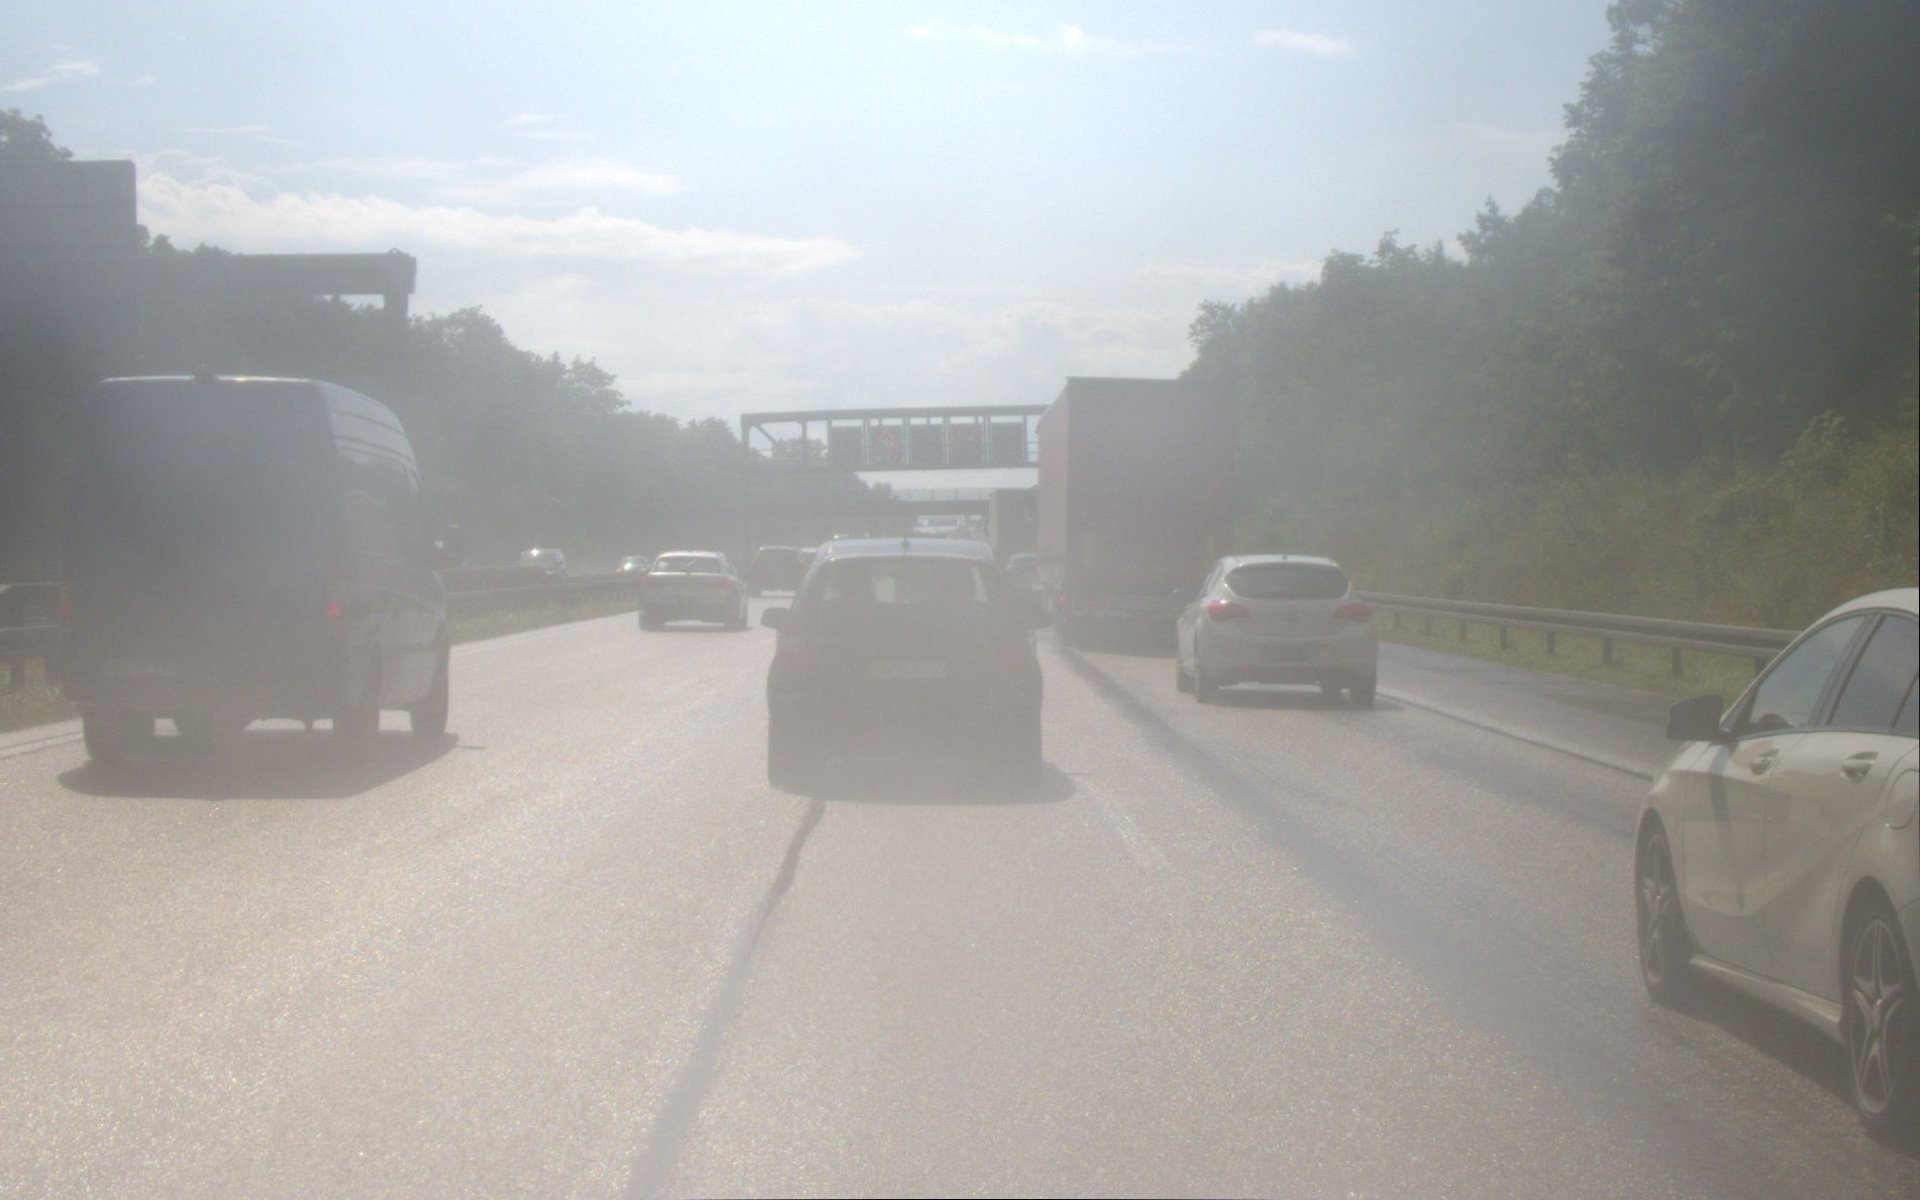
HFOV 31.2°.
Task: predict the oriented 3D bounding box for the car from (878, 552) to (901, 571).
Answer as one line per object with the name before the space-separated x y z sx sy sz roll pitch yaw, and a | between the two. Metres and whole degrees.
car | -4.875 -2.678 238.018 1.549 1.262 3.485 1 1 -2

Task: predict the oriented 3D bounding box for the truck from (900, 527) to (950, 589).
truck | -1.679 -2.000 163.375 2.192 2.865 4.850 1 1 -2

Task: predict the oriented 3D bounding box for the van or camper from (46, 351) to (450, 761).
van or camper | -5.071 -0.319 25.257 1.993 2.659 5.385 1 1 -2

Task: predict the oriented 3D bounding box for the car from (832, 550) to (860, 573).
car | -6.396 -2.146 193.018 1.549 1.262 3.485 1 1 -2

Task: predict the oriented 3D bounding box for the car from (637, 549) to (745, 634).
car | -5.039 -0.179 64.816 1.854 1.546 3.485 1 1 -2

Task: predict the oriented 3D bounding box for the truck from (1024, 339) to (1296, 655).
truck | 3.170 -1.650 60.199 3.650 4.704 16.779 1 1 0

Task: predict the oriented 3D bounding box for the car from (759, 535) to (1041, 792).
car | -0.429 0.369 22.944 1.717 1.562 3.485 1 1 -2

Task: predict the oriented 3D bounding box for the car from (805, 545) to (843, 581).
car | -5.384 -1.481 136.284 1.460 1.389 3.312 1 1 -2

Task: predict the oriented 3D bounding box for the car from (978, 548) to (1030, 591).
car | 1.453 -1.019 114.547 1.552 1.378 3.210 1 1 -2

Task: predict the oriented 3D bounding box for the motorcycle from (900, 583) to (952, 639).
motorcycle | -0.658 0.193 65.177 0.890 0.997 2.896 1 1 -2

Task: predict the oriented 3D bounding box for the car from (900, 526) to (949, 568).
car | -1.202 -1.776 115.496 1.552 1.378 3.210 1 1 -2

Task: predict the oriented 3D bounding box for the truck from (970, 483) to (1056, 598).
truck | 2.099 -2.425 141.605 3.256 4.464 12.421 1 1 0

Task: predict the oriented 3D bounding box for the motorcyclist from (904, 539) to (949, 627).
motorcyclist | -0.634 -0.324 65.128 0.801 1.627 1.013 1 1 -2

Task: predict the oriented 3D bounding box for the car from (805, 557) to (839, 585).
car | -6.507 -1.380 161.736 1.549 1.262 3.485 1 1 -2

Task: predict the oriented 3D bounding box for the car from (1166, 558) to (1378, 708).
car | 3.150 0.297 35.335 1.680 1.437 3.905 1 1 -2

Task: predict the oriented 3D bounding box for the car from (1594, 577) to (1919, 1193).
car | 3.101 0.667 10.050 1.692 1.420 4.220 1 1 0

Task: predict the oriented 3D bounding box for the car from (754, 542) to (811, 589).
car | -5.676 -1.106 110.122 1.751 1.452 3.390 1 1 -2

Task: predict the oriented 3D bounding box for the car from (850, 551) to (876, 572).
car | -5.825 -2.309 206.356 1.549 1.262 3.485 1 1 -2

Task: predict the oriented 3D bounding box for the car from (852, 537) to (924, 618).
car | -1.610 -0.512 76.447 1.531 1.740 3.485 1 1 -2
